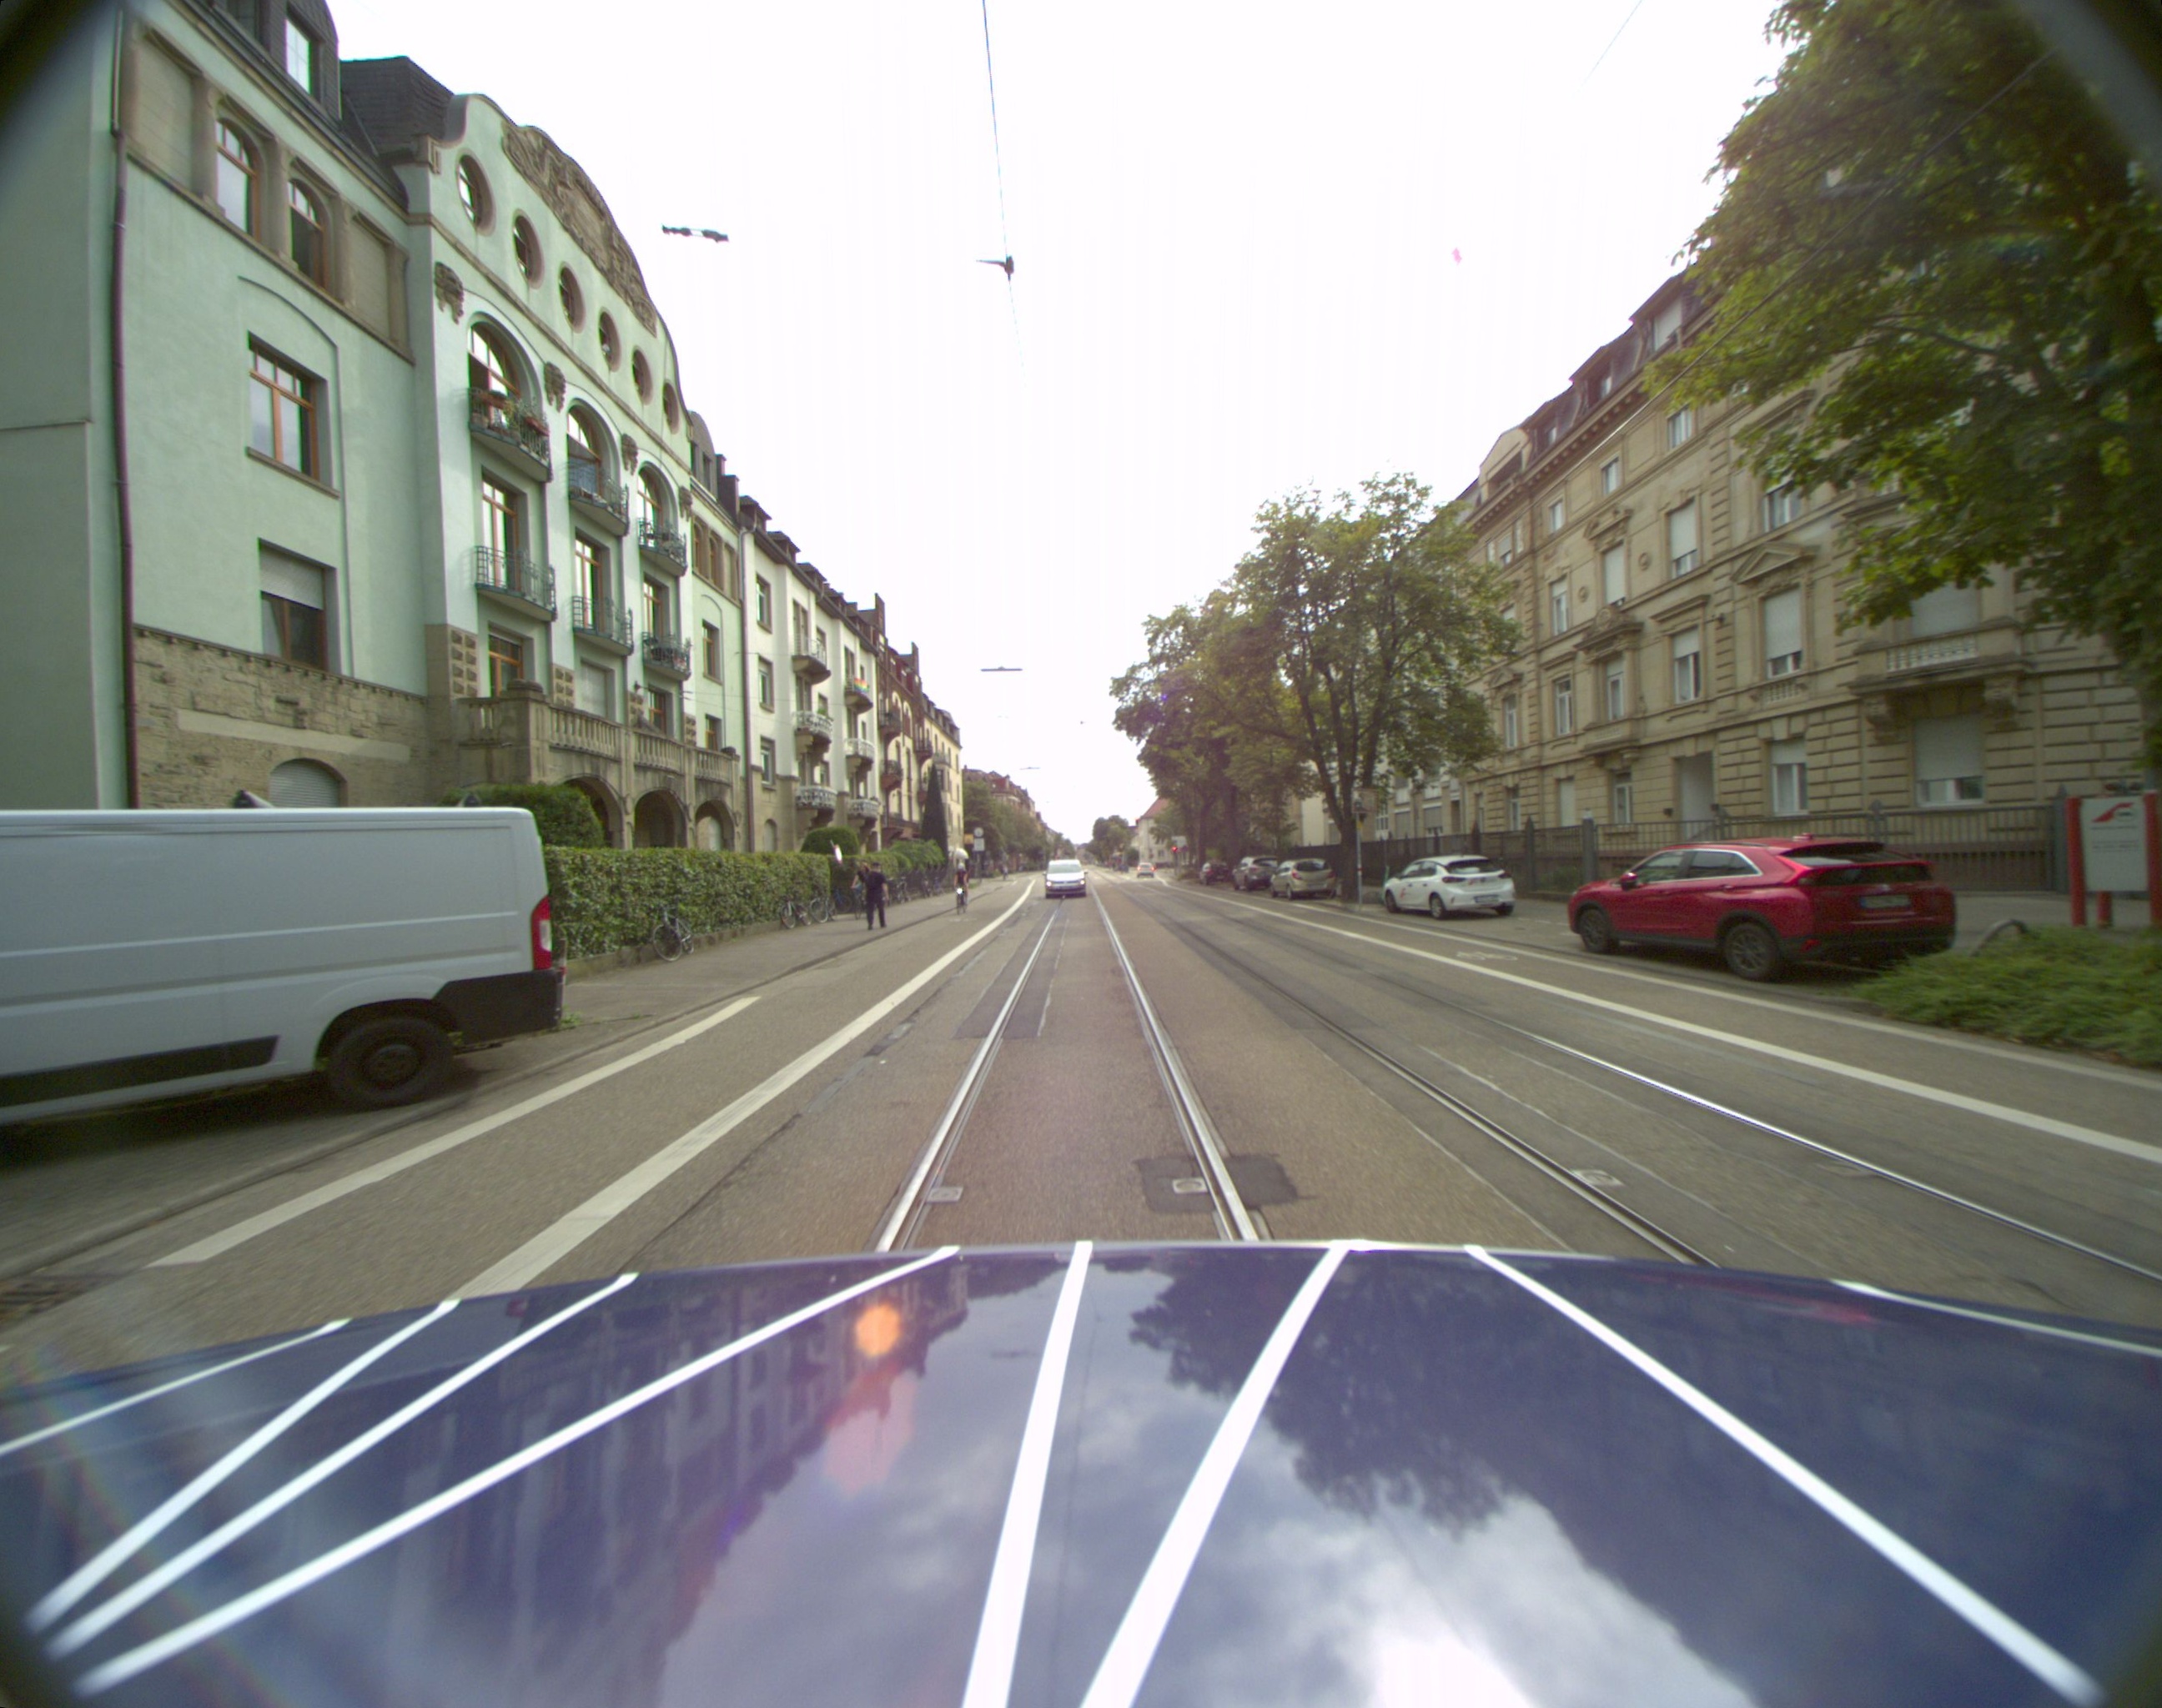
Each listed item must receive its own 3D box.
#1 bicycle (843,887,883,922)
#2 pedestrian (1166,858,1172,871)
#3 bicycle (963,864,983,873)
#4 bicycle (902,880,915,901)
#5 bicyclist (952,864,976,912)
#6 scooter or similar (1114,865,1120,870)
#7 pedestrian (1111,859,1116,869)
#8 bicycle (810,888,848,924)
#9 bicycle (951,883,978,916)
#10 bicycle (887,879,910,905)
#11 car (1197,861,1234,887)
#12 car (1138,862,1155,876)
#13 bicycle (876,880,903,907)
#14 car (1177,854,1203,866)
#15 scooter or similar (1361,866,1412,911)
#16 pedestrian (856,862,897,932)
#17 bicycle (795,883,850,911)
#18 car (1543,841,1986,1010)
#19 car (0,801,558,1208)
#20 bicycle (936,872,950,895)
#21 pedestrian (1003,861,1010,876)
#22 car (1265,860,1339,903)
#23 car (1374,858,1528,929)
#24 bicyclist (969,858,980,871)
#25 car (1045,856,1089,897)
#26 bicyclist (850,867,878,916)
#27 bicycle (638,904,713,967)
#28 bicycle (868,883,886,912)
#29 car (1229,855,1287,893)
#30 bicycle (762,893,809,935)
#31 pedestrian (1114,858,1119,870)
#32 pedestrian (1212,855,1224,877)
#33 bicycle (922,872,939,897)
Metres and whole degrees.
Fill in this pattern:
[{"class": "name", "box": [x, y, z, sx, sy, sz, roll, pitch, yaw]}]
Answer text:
[{"class": "bicycle", "box": [-6.568, 1.514, 23.017, 0.690, 0.956, 2.036, 0, 0, -2]}, {"class": "pedestrian", "box": [11.614, 1.428, 100.604, 0.654, 1.680, 0.711, -2, 0, -4]}, {"class": "bicycle", "box": [-14.148, 1.937, 99.476, 0.888, 1.039, 3.089, -2, 0, -44]}, {"class": "bicycle", "box": [-7.207, 1.519, 31.768, 0.278, 0.847, 1.198, -1, 1, 0]}, {"class": "bicyclist", "box": [-3.921, 1.126, 25.570, 0.640, 1.561, 1.110, -1, 0, -2]}, {"class": "scooter or similar", "box": [5.268, 1.898, 110.011, 0.669, 0.708, 0.605, 0, -1, 32]}, {"class": "pedestrian", "box": [5.535, 1.693, 128.544, 0.658, 1.824, 0.464, -3, 0, -13]}, {"class": "bicycle", "box": [-7.216, 1.473, 21.827, 0.387, 0.902, 1.665, -1, 0, 5]}, {"class": "bicycle", "box": [-3.913, 1.510, 25.556, 0.640, 0.975, 2.071, -1, 0, -2]}, {"class": "bicycle", "box": [-7.176, 1.480, 29.955, 0.487, 0.902, 1.665, -1, 0, 0]}, {"class": "car", "box": [8.585, 1.237, 48.809, 1.724, 1.416, 4.166, -4, 0, 2]}, {"class": "car", "box": [6.569, 1.483, 76.534, 1.574, 1.407, 4.001, 0, 0, 4]}, {"class": "bicycle", "box": [-7.084, 1.461, 28.170, 0.487, 0.902, 1.665, -1, 0, 3]}, {"class": "car", "box": [19.748, 1.116, 137.566, 4.188, 1.853, 1.857, -3, 0, 35]}, {"class": "scooter or similar", "box": [8.772, 0.979, 21.861, 0.563, 1.215, 1.321, -2, 0, -23]}, {"class": "pedestrian", "box": [-5.180, 1.072, 19.307, 0.787, 1.722, 0.896, 0, 0, 0]}, {"class": "bicycle", "box": [-8.545, 1.425, 25.139, 1.662, 0.902, 0.487, -1, 1, 8]}, {"class": "car", "box": [8.513, 0.753, 10.190, 1.726, 1.645, 4.542, -4, 0, -1]}, {"class": "car", "box": [-6.818, 0.874, 5.190, 4.968, 2.277, 2.378, -3, 0, -43]}, {"class": "bicycle", "box": [-7.021, 1.486, 38.698, 0.392, 1.096, 1.759, -1, 0, 0]}, {"class": "pedestrian", "box": [-8.392, 1.668, 85.765, 0.721, 1.650, 0.759, 2, 0, -4]}, {"class": "car", "box": [8.365, 0.982, 29.102, 1.604, 1.459, 4.079, -2, 0, 0]}, {"class": "car", "box": [8.930, 0.883, 18.759, 1.726, 1.415, 4.023, -4, 0, -1]}, {"class": "bicyclist", "box": [-13.888, 1.388, 99.232, 0.841, 1.679, 1.243, -1, -1, -44]}, {"class": "car", "box": [-0.591, 0.990, 35.032, 1.767, 1.660, 4.330, -4, 0, 1]}, {"class": "bicyclist", "box": [-6.564, 1.119, 23.022, 0.649, 1.461, 0.800, 0, 0, -2]}, {"class": "bicycle", "box": [-7.193, 1.418, 13.568, 0.387, 0.902, 1.841, -1, 0, -2]}, {"class": "bicycle", "box": [-7.045, 1.493, 26.258, 0.487, 0.902, 1.663, -1, 0, -11]}, {"class": "car", "box": [8.491, 0.906, 36.729, 1.715, 1.663, 4.357, -2, 0, 0]}, {"class": "bicycle", "box": [-7.303, 1.459, 18.837, 0.387, 0.902, 1.665, -1, 0, 5]}, {"class": "pedestrian", "box": [5.150, 1.428, 110.815, 0.684, 1.680, 0.815, -2, -1, 0]}, {"class": "pedestrian", "box": [11.085, 0.997, 61.569, 0.707, 1.725, 0.701, -3, 0, -4]}, {"class": "bicycle", "box": [-7.131, 1.416, 35.984, 0.392, 1.135, 1.921, -1, 0, 0]}]
